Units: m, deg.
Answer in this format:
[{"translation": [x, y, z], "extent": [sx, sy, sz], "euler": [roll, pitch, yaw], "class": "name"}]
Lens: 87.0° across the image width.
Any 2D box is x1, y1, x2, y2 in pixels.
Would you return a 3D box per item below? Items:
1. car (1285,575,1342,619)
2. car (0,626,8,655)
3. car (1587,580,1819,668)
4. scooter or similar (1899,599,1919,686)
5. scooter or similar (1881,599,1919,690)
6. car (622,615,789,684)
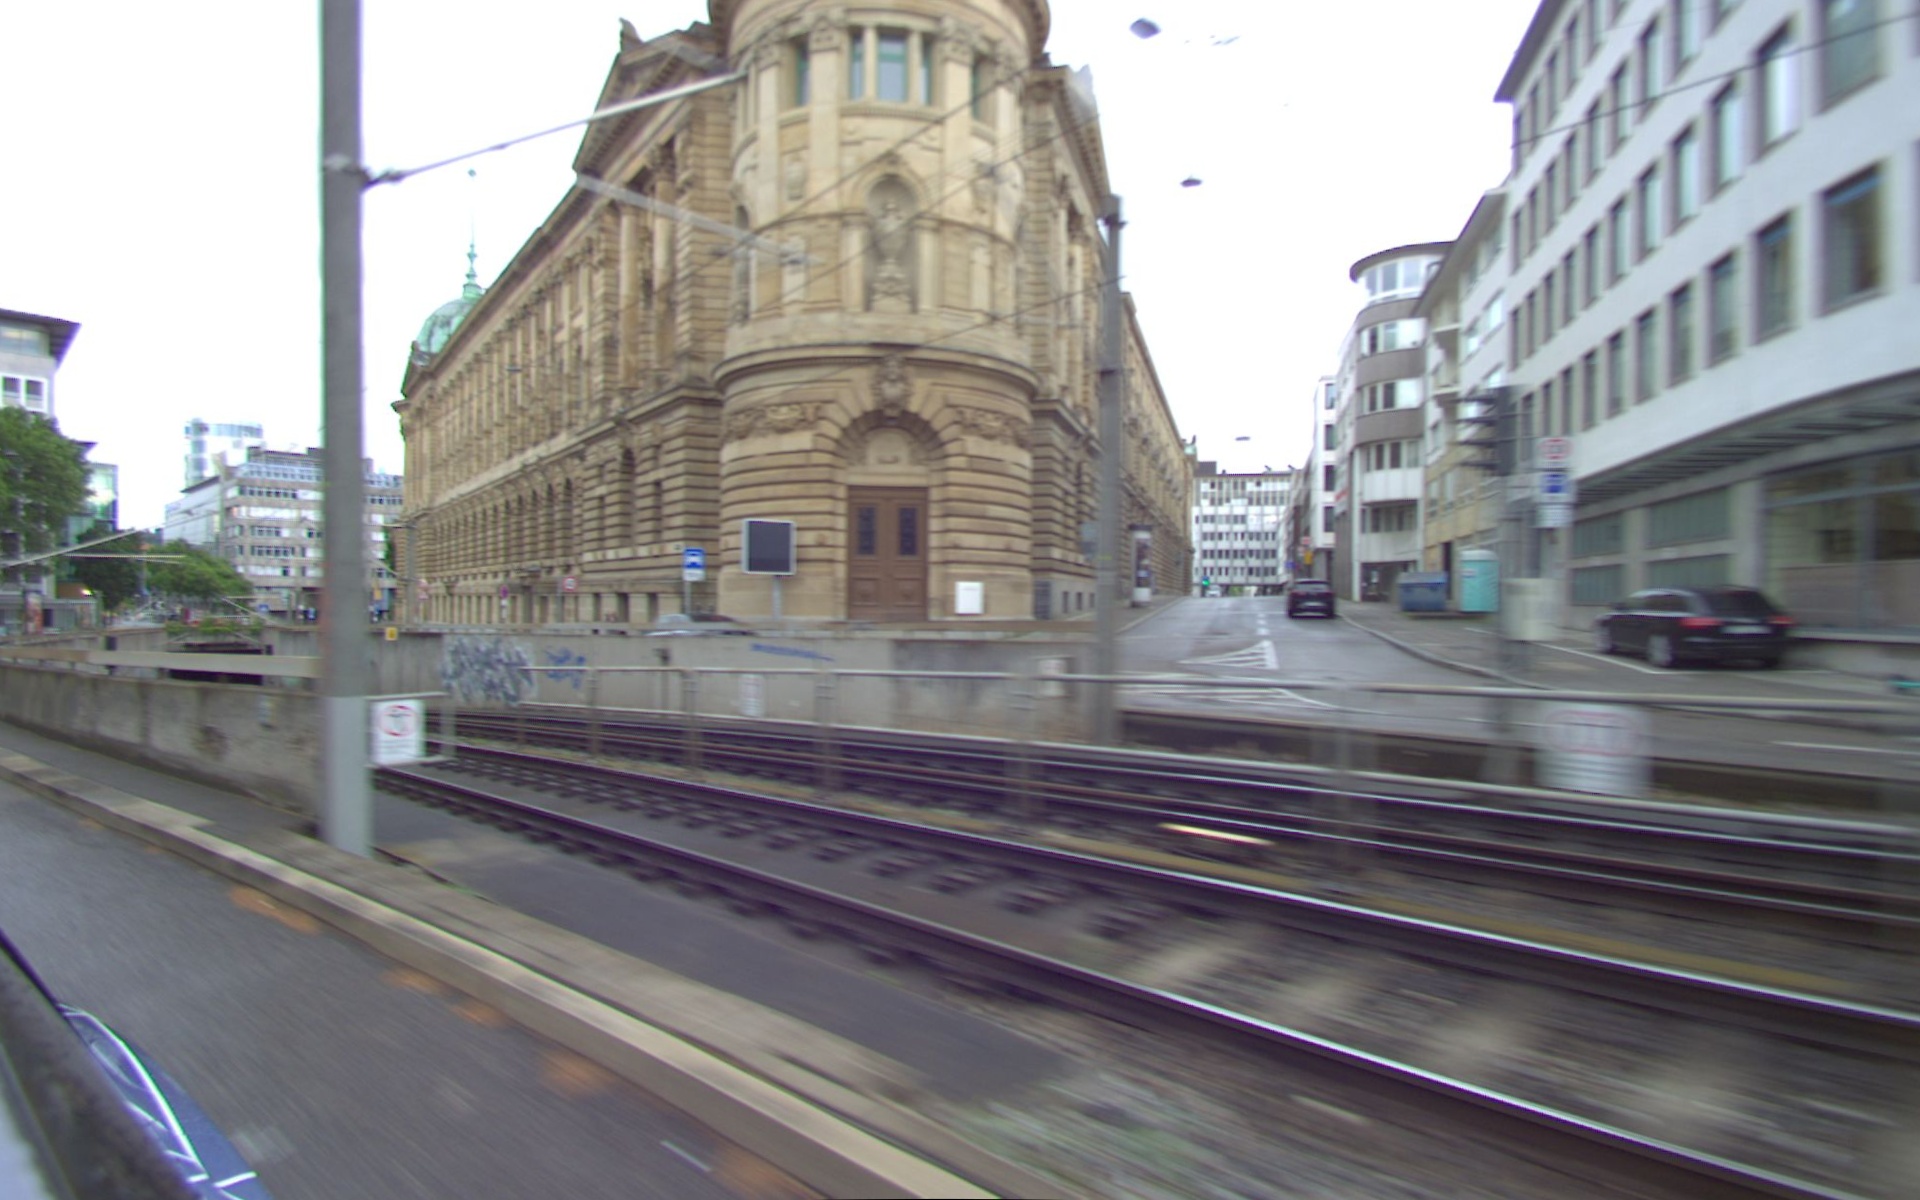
[{"translation": [14.150, -0.135, 40.697], "extent": [1.983, 1.652, 3.977], "euler": [-1, 1, 18], "class": "car"}, {"translation": [-64.804, 2.699, 67.222], "extent": [4.000, 1.829, 1.972], "euler": [-1, 1, 43], "class": "car"}, {"translation": [13.499, 0.365, 18.756], "extent": [1.766, 1.408, 4.312], "euler": [-1, 1, 11], "class": "car"}, {"translation": [13.763, 0.596, 13.682], "extent": [0.404, 1.209, 1.565], "euler": [-2, 1, -17], "class": "scooter or similar"}, {"translation": [13.262, 0.602, 13.385], "extent": [0.404, 1.209, 1.565], "euler": [-2, 1, -23], "class": "scooter or similar"}, {"translation": [-6.045, 1.084, 23.800], "extent": [4.001, 1.397, 1.971], "euler": [-1, 1, 44], "class": "car"}]
